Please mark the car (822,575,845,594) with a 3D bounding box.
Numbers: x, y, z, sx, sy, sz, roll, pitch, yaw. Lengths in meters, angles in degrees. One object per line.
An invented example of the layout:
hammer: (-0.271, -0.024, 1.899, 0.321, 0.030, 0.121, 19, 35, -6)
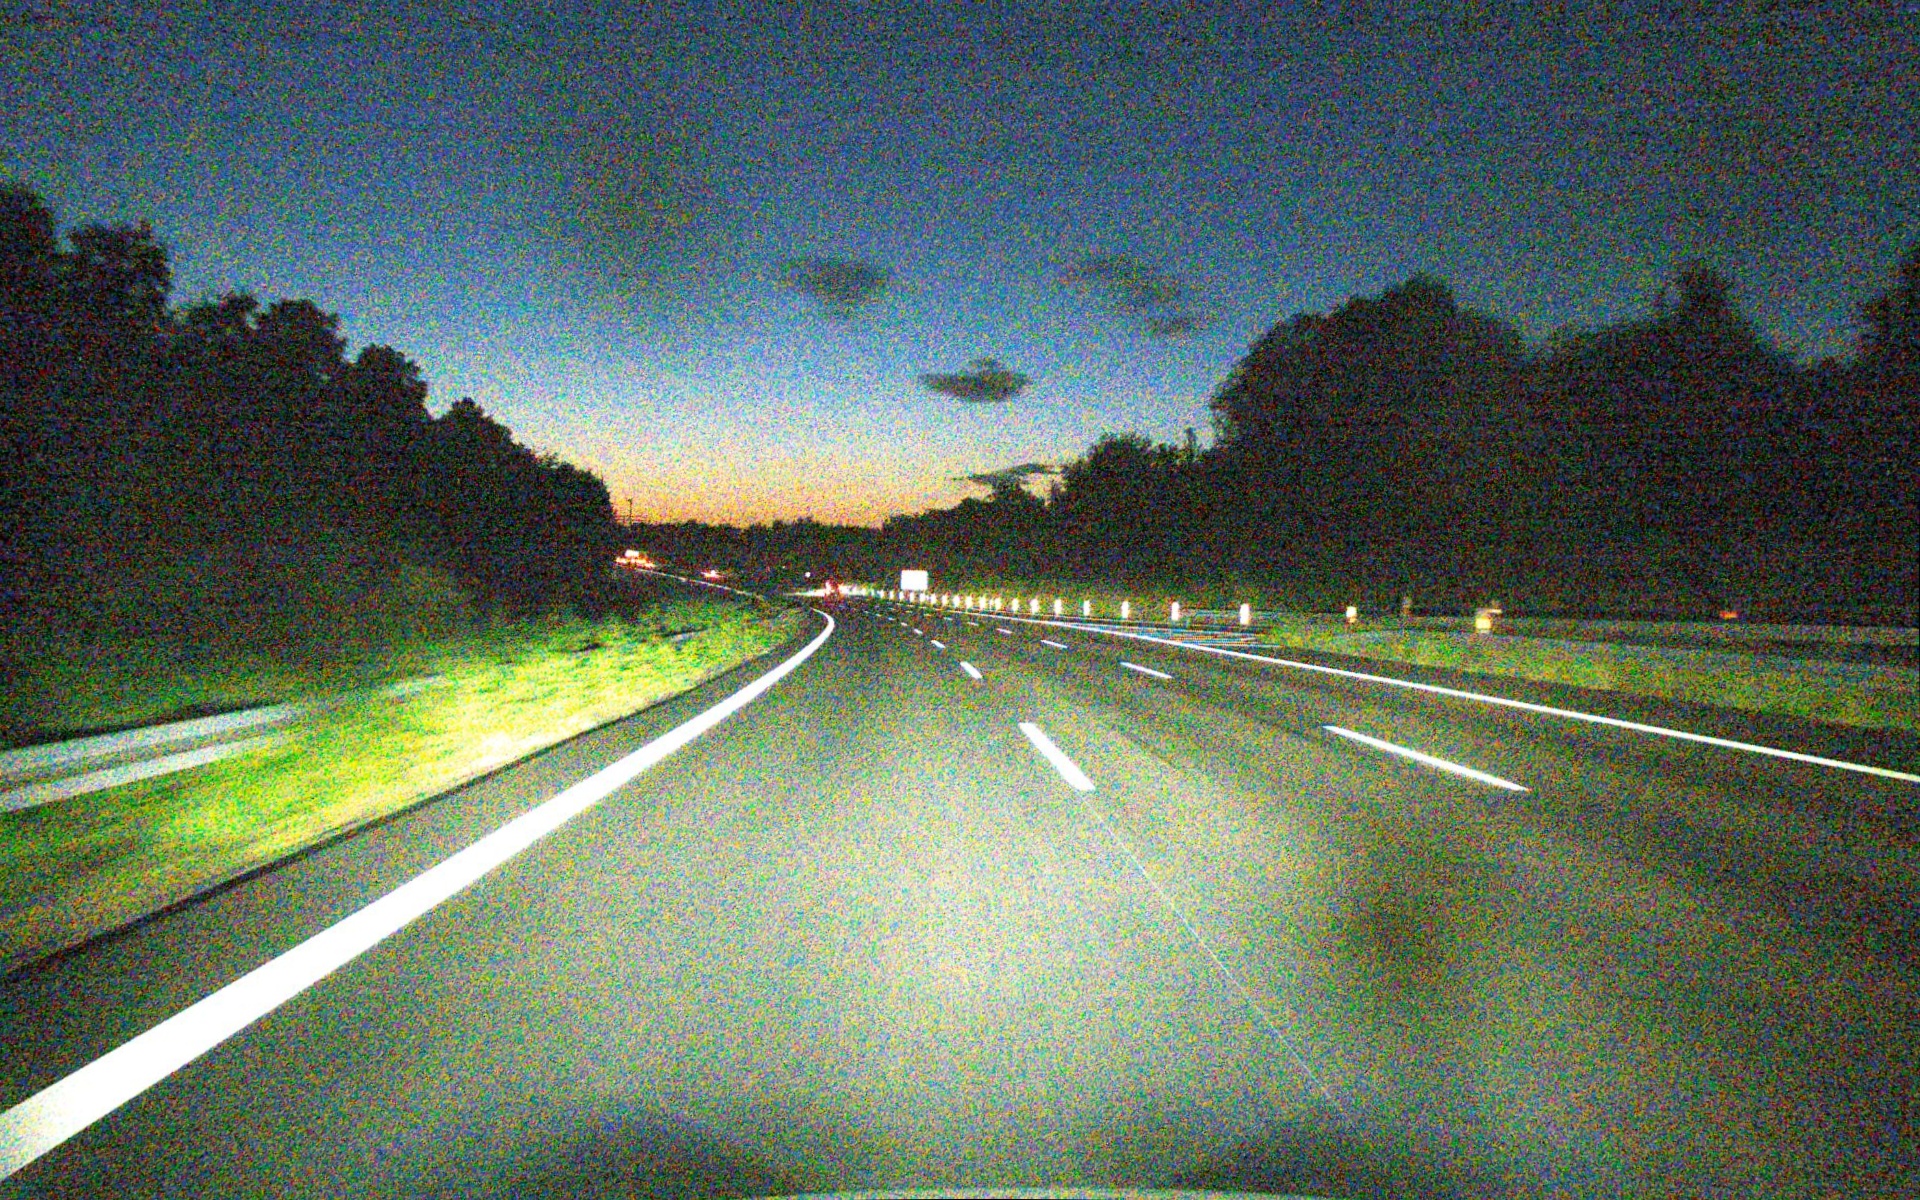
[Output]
car: (-19.126, -2.365, 250.009, 2.485, 2.597, 6.029, 2, 1, -15)
